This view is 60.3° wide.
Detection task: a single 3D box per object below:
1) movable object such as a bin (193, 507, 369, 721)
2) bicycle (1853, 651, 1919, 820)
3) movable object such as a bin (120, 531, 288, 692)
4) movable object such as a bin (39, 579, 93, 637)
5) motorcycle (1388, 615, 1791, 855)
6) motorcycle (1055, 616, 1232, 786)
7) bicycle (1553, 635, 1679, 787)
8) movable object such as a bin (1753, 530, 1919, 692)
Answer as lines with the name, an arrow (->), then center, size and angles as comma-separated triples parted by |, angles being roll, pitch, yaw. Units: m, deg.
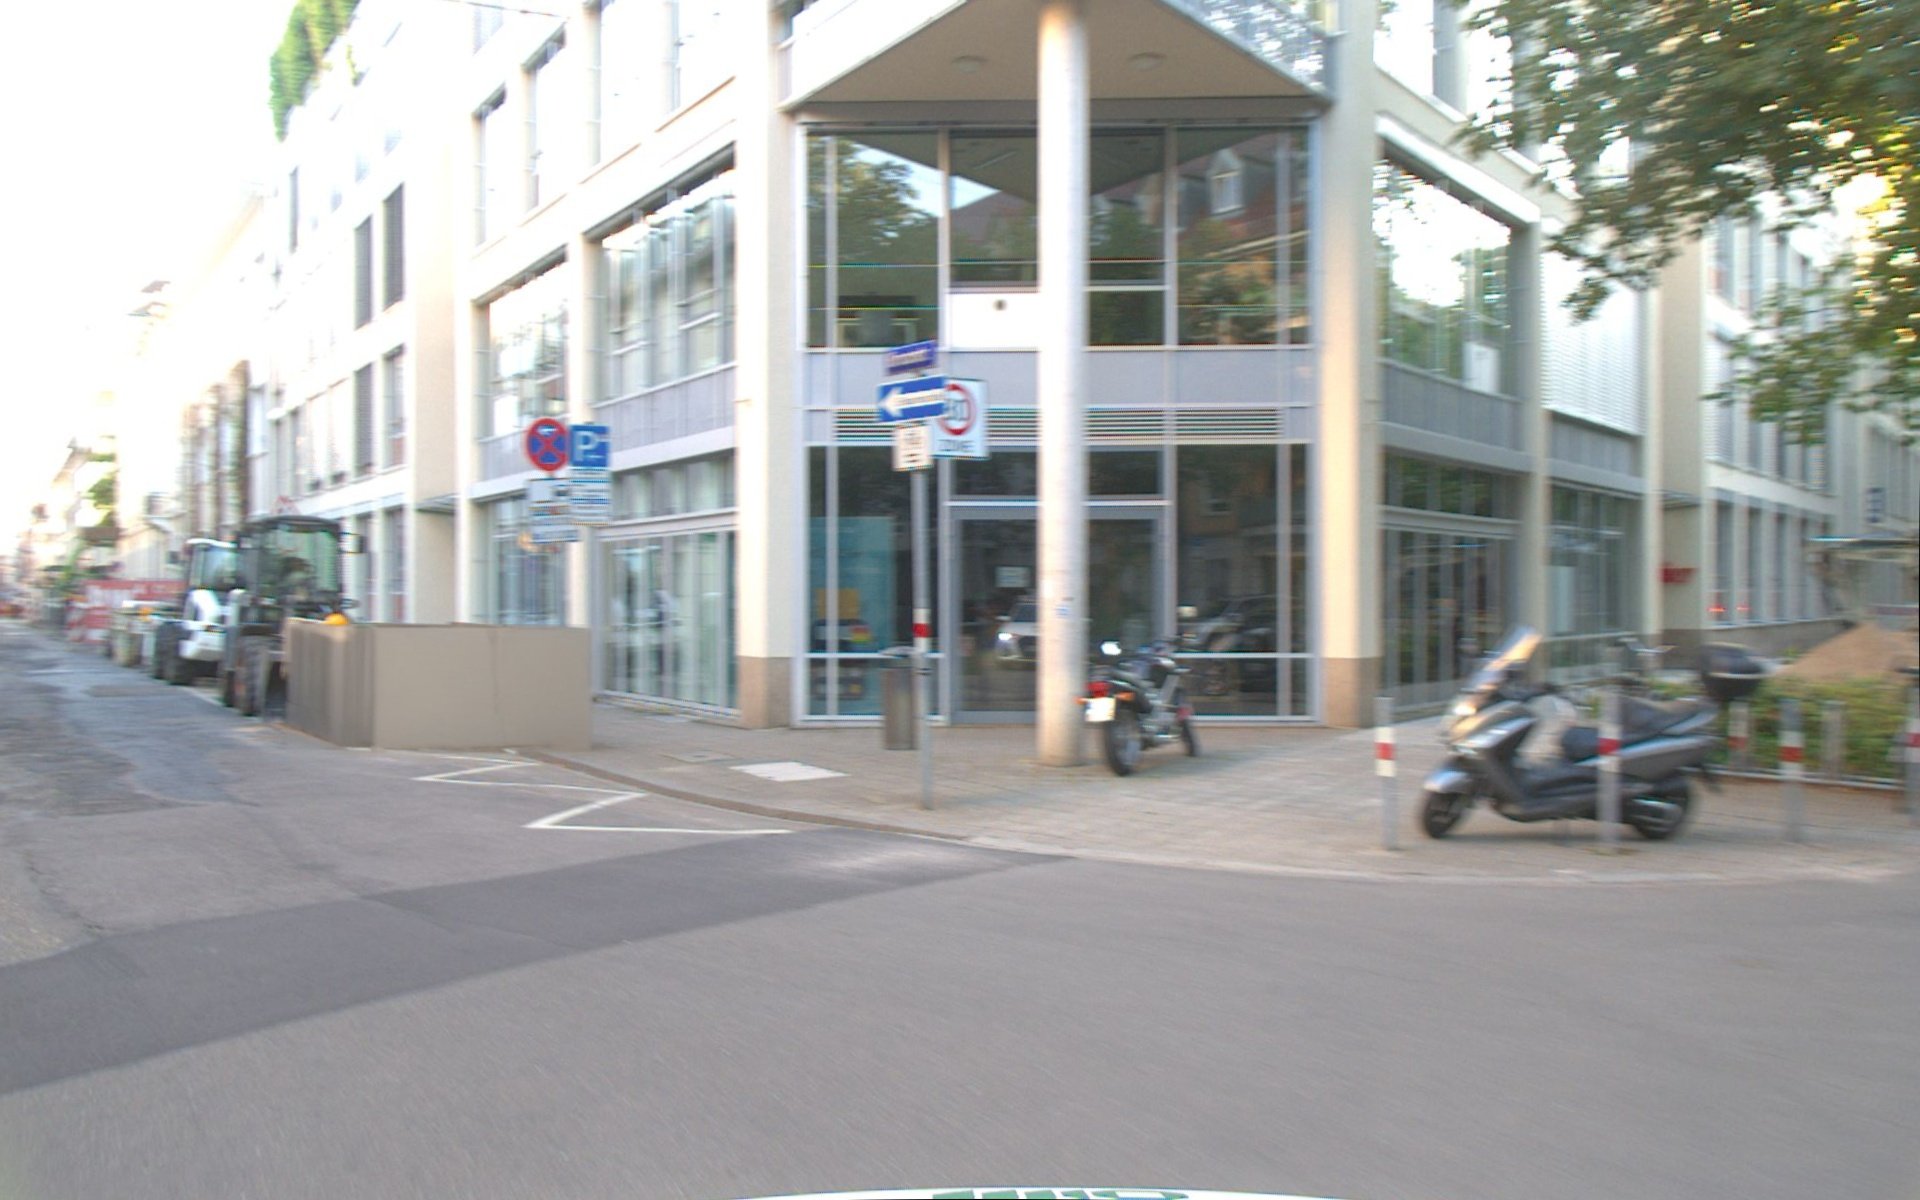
movable object such as a bin -> -9.504, 0.169, 22.992 | 1.777, 2.680, 4.070 | 0, 0, -30
bicycle -> 7.300, 0.998, 12.667 | 0.591, 1.137, 1.793 | 0, 1, 35
movable object such as a bin -> -13.826, 0.193, 30.055 | 2.145, 2.641, 5.483 | 0, 0, -31
movable object such as a bin -> -50.562, 0.438, 93.507 | 2.446, 3.185, 4.251 | 1, 0, -31
motorcycle -> 4.037, 0.838, 10.705 | 2.325, 1.466, 0.801 | 0, 0, -4
motorcycle -> 1.632, 0.824, 14.357 | 0.603, 1.296, 2.119 | 0, 1, 34
bicycle -> 5.591, 0.901, 14.041 | 0.591, 1.137, 1.793 | 0, 1, 35
movable object such as a bin -> 14.385, 0.159, 25.484 | 3.601, 2.373, 2.575 | 0, 0, 34
